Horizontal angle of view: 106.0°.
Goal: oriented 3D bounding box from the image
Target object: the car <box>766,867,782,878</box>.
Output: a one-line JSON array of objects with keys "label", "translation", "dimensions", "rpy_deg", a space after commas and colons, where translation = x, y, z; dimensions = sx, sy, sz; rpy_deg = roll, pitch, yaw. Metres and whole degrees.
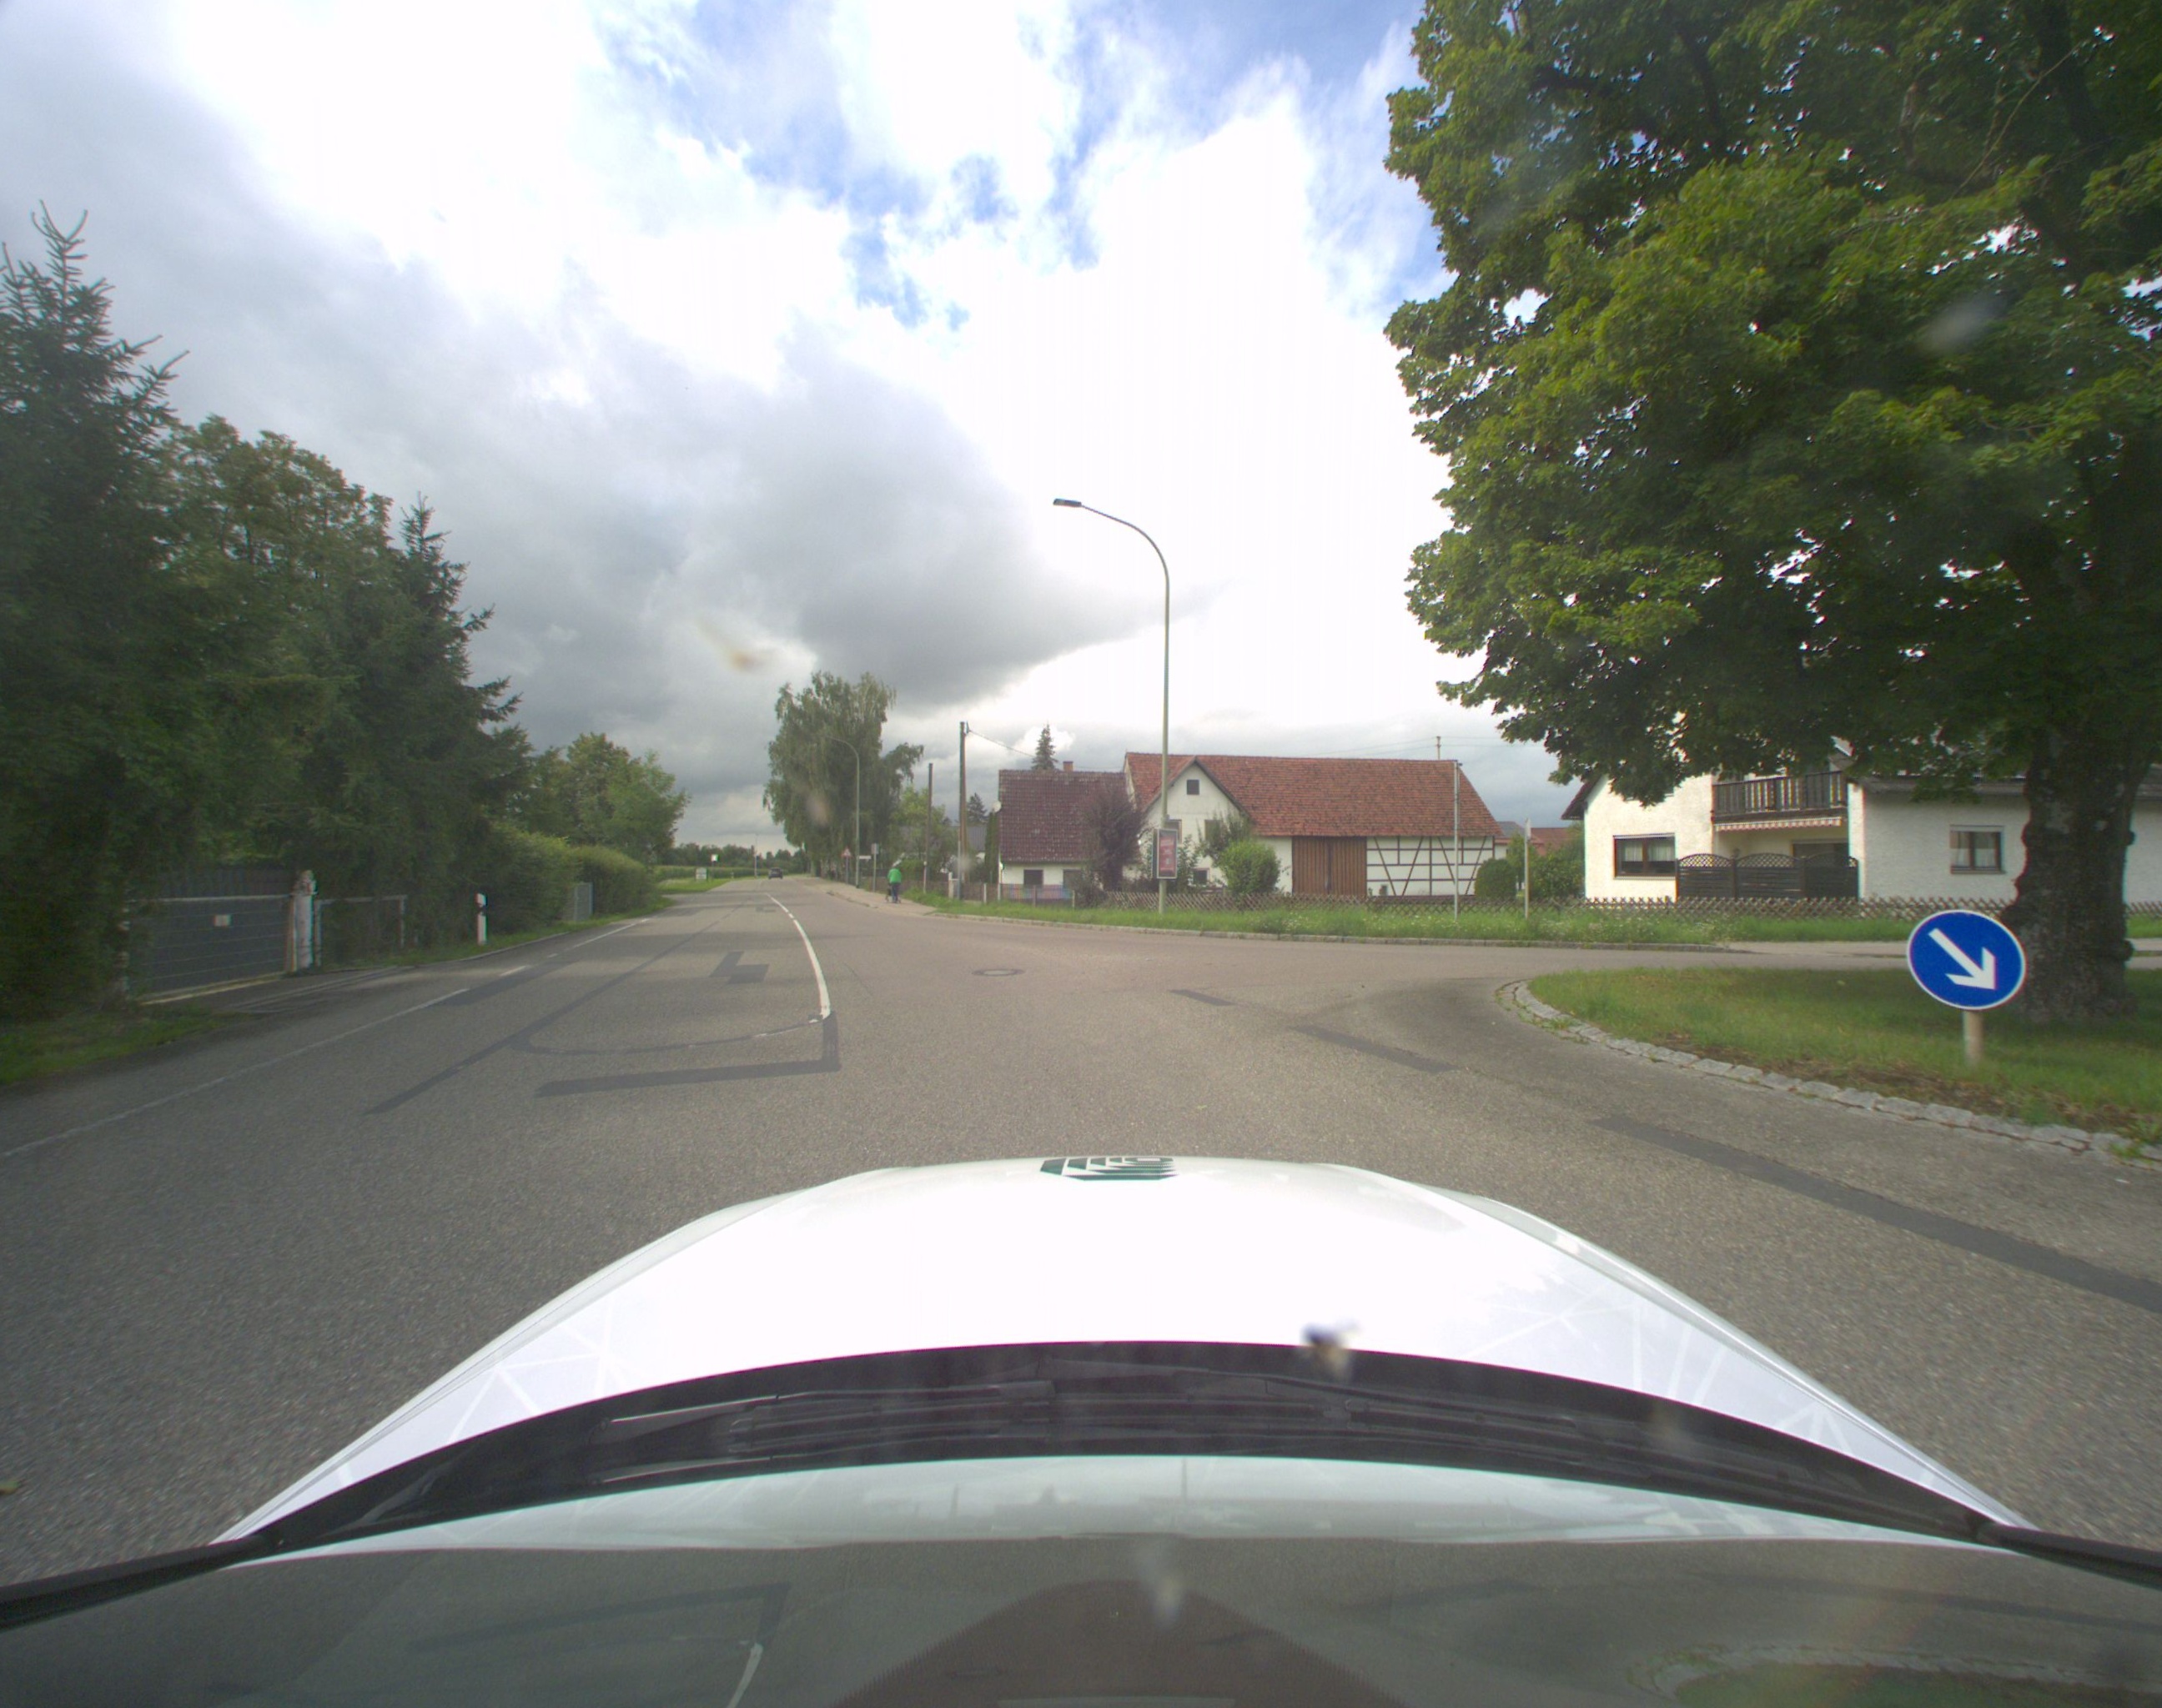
[{"label": "car", "translation": [-43.099, 2.616, 114.228], "dimensions": [2.001, 1.552, 3.972], "rpy_deg": [1, -1, -21]}]

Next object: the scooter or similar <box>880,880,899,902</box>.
[{"label": "scooter or similar", "translation": [-8.724, 1.669, 37.061], "dimensions": [0.633, 0.948, 0.617], "rpy_deg": [5, -3, -25]}]

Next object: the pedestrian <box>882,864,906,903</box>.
[{"label": "pedestrian", "translation": [-8.350, 1.298, 36.378], "dimensions": [0.792, 1.665, 0.706], "rpy_deg": [5, -3, -25]}]
